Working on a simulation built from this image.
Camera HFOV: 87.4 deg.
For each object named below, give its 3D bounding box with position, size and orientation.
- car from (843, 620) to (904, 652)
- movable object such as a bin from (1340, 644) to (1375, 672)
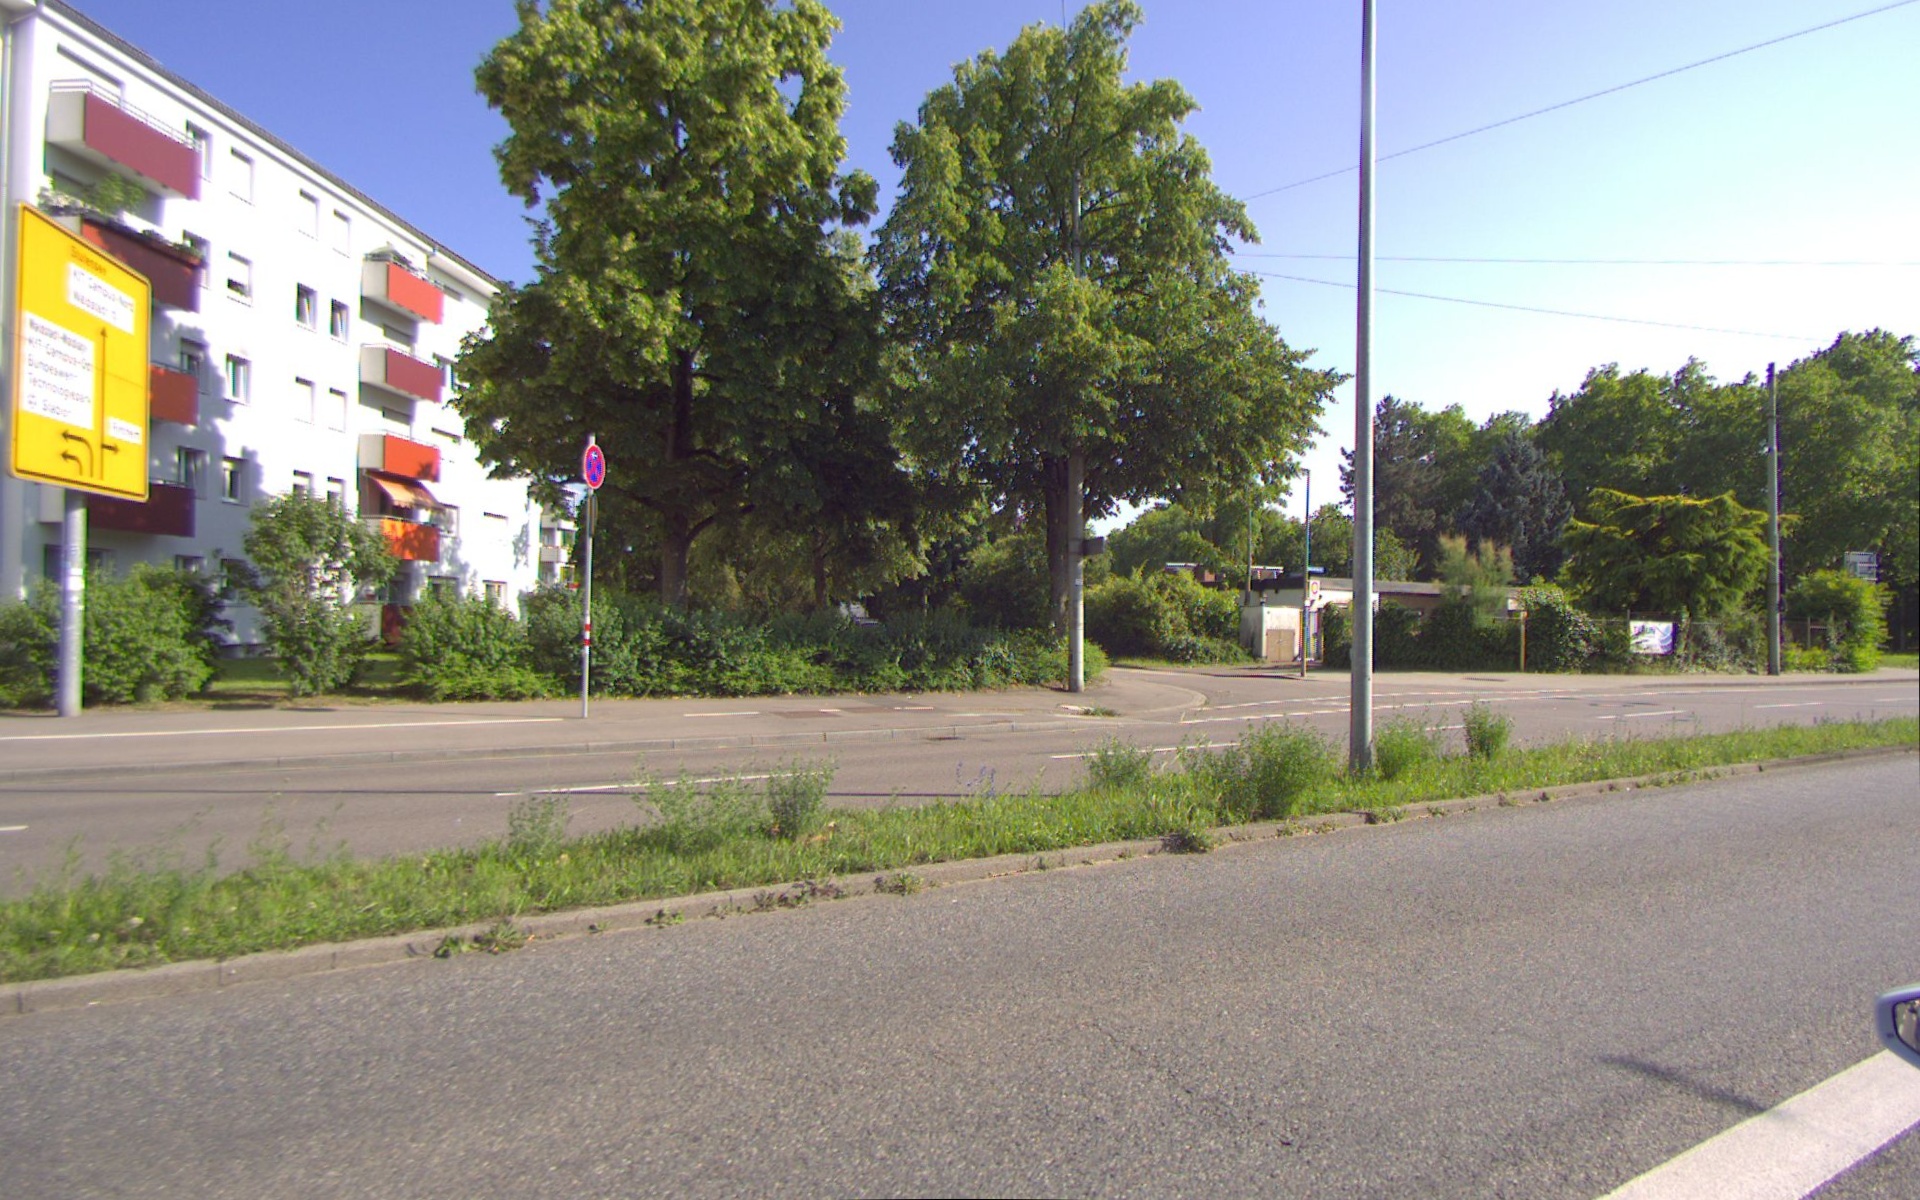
[{"bbox_3d":[-4.325,1.753,49.750,1.763,1.530,3.974,1,-2,-26],"label":"car"},{"bbox_3d":[13.841,2.018,34.987,0.843,0.943,0.813,1,-1,-29],"label":"movable object such as a bin"}]
